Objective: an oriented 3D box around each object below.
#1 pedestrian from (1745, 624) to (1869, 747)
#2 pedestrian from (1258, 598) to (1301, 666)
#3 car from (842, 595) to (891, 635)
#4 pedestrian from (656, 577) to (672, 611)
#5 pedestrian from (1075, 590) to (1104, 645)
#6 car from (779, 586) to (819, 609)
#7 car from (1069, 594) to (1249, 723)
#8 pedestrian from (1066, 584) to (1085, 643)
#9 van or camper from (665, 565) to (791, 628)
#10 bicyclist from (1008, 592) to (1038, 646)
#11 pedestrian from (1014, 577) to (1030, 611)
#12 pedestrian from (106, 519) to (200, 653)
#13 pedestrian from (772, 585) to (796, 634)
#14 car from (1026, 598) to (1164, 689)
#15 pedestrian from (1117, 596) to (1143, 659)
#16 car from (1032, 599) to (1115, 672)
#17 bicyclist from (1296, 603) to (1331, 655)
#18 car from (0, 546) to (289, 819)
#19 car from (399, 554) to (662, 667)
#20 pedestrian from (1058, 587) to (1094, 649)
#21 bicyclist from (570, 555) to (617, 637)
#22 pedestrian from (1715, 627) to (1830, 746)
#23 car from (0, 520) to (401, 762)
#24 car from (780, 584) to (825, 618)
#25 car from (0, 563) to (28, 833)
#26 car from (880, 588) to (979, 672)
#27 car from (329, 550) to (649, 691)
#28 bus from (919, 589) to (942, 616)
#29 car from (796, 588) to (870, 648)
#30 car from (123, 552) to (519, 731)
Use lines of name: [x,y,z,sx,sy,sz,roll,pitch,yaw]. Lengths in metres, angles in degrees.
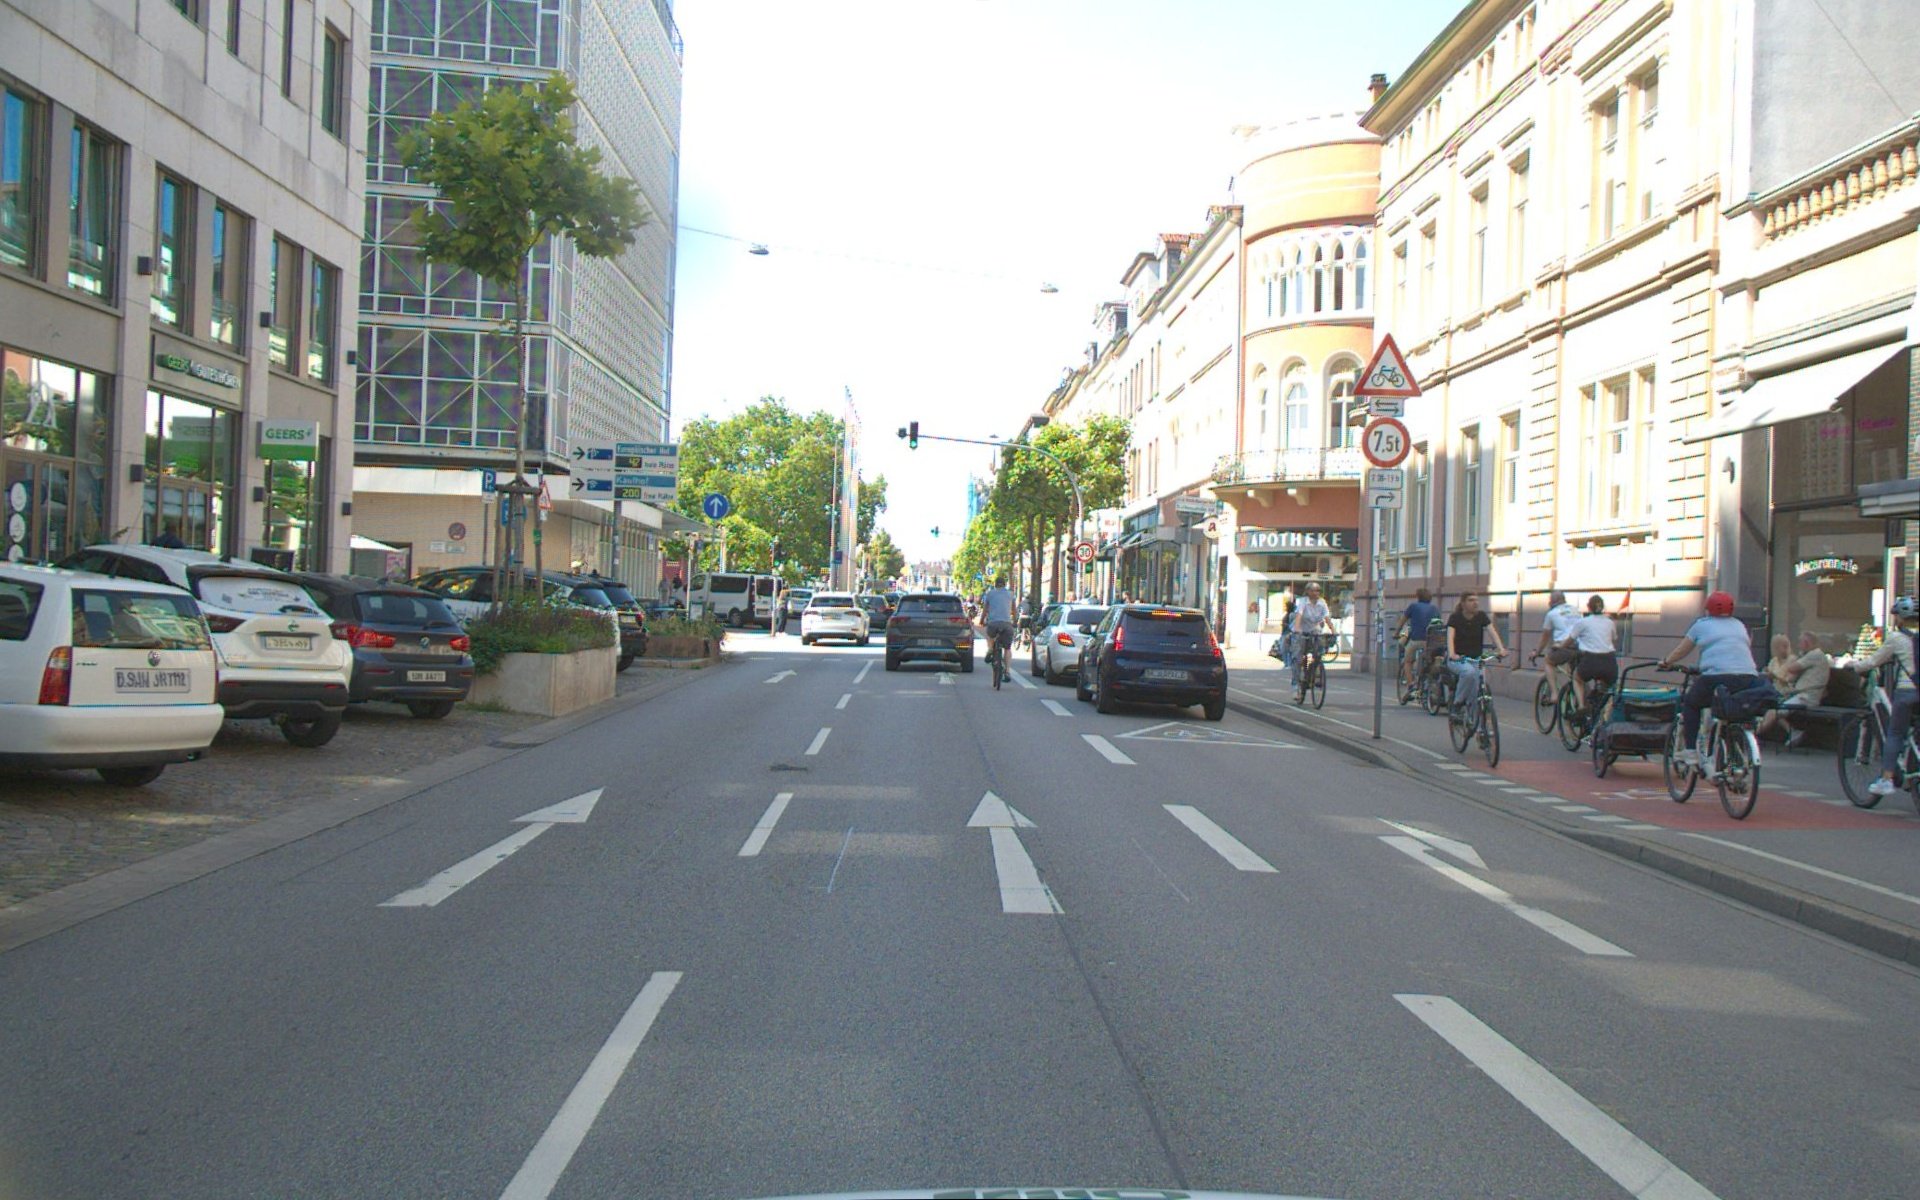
pedestrian: [9.559,0.953,18.682,1.064,1.339,0.624,-1,0,-3]
pedestrian: [7.825,0.789,40.556,0.881,1.640,0.976,0,-3,2]
car: [-3.595,0.550,64.174,1.808,1.474,3.998,1,0,-2]
pedestrian: [-14.115,-0.288,78.845,0.665,1.586,0.640,1,0,-6]
pedestrian: [4.149,0.556,53.083,0.772,1.720,0.641,2,0,-4]
car: [-15.087,-0.238,154.877,1.821,1.989,4.761,2,-1,20]
car: [2.777,0.764,24.032,1.849,1.517,4.289,4,1,-2]
pedestrian: [3.661,0.417,52.459,0.443,1.826,0.607,3,0,-4]
van or camper: [-8.710,-0.135,61.903,4.572,2.048,1.991,4,1,38]
bicyclist: [1.791,0.530,46.988,0.685,1.465,0.790,3,0,-5]
pedestrian: [3.243,-0.303,86.767,0.626,1.718,0.843,4,0,-4]
pedestrian: [-12.129,-0.207,24.890,0.822,1.911,0.844,5,-1,-1]
pedestrian: [-5.912,0.318,55.508,0.628,1.586,0.679,3,0,-13]
car: [2.438,0.751,31.075,1.913,1.449,4.884,4,0,-2]
pedestrian: [5.246,0.851,50.953,0.625,1.875,0.615,4,-1,11]
car: [2.623,0.808,37.601,1.594,1.504,3.734,2,-1,7]
bicyclist: [9.944,0.820,46.519,0.841,1.436,0.501,1,0,-1]
car: [-7.116,0.345,11.341,4.396,1.457,1.863,7,0,18]
car: [-7.450,0.182,28.747,3.940,1.630,1.958,4,-1,21]
pedestrian: [3.505,0.545,50.019,0.628,1.736,0.789,-11,-2,-6]
bicyclist: [-9.200,-0.097,41.571,0.824,1.994,1.017,2,0,4]
pedestrian: [9.500,1.001,19.356,1.008,1.339,0.624,1,0,-3]
car: [-7.120,0.301,14.748,3.955,1.620,1.815,7,0,31]
car: [-7.744,0.028,81.694,1.763,1.549,4.738,3,1,-1]
car: [-7.252,0.373,8.338,3.908,1.554,1.819,5,-2,-2]
car: [-0.676,0.568,33.651,1.809,1.586,3.997,1,0,-4]
car: [-7.141,0.301,25.346,4.071,1.665,2.104,6,0,7]
bus: [-4.203,0.384,233.993,2.934,3.657,11.739,2,-1,-2]
car: [-3.524,0.480,46.497,1.808,1.587,3.999,1,0,-1]
car: [-6.982,0.405,17.952,4.229,1.474,1.782,5,0,32]
